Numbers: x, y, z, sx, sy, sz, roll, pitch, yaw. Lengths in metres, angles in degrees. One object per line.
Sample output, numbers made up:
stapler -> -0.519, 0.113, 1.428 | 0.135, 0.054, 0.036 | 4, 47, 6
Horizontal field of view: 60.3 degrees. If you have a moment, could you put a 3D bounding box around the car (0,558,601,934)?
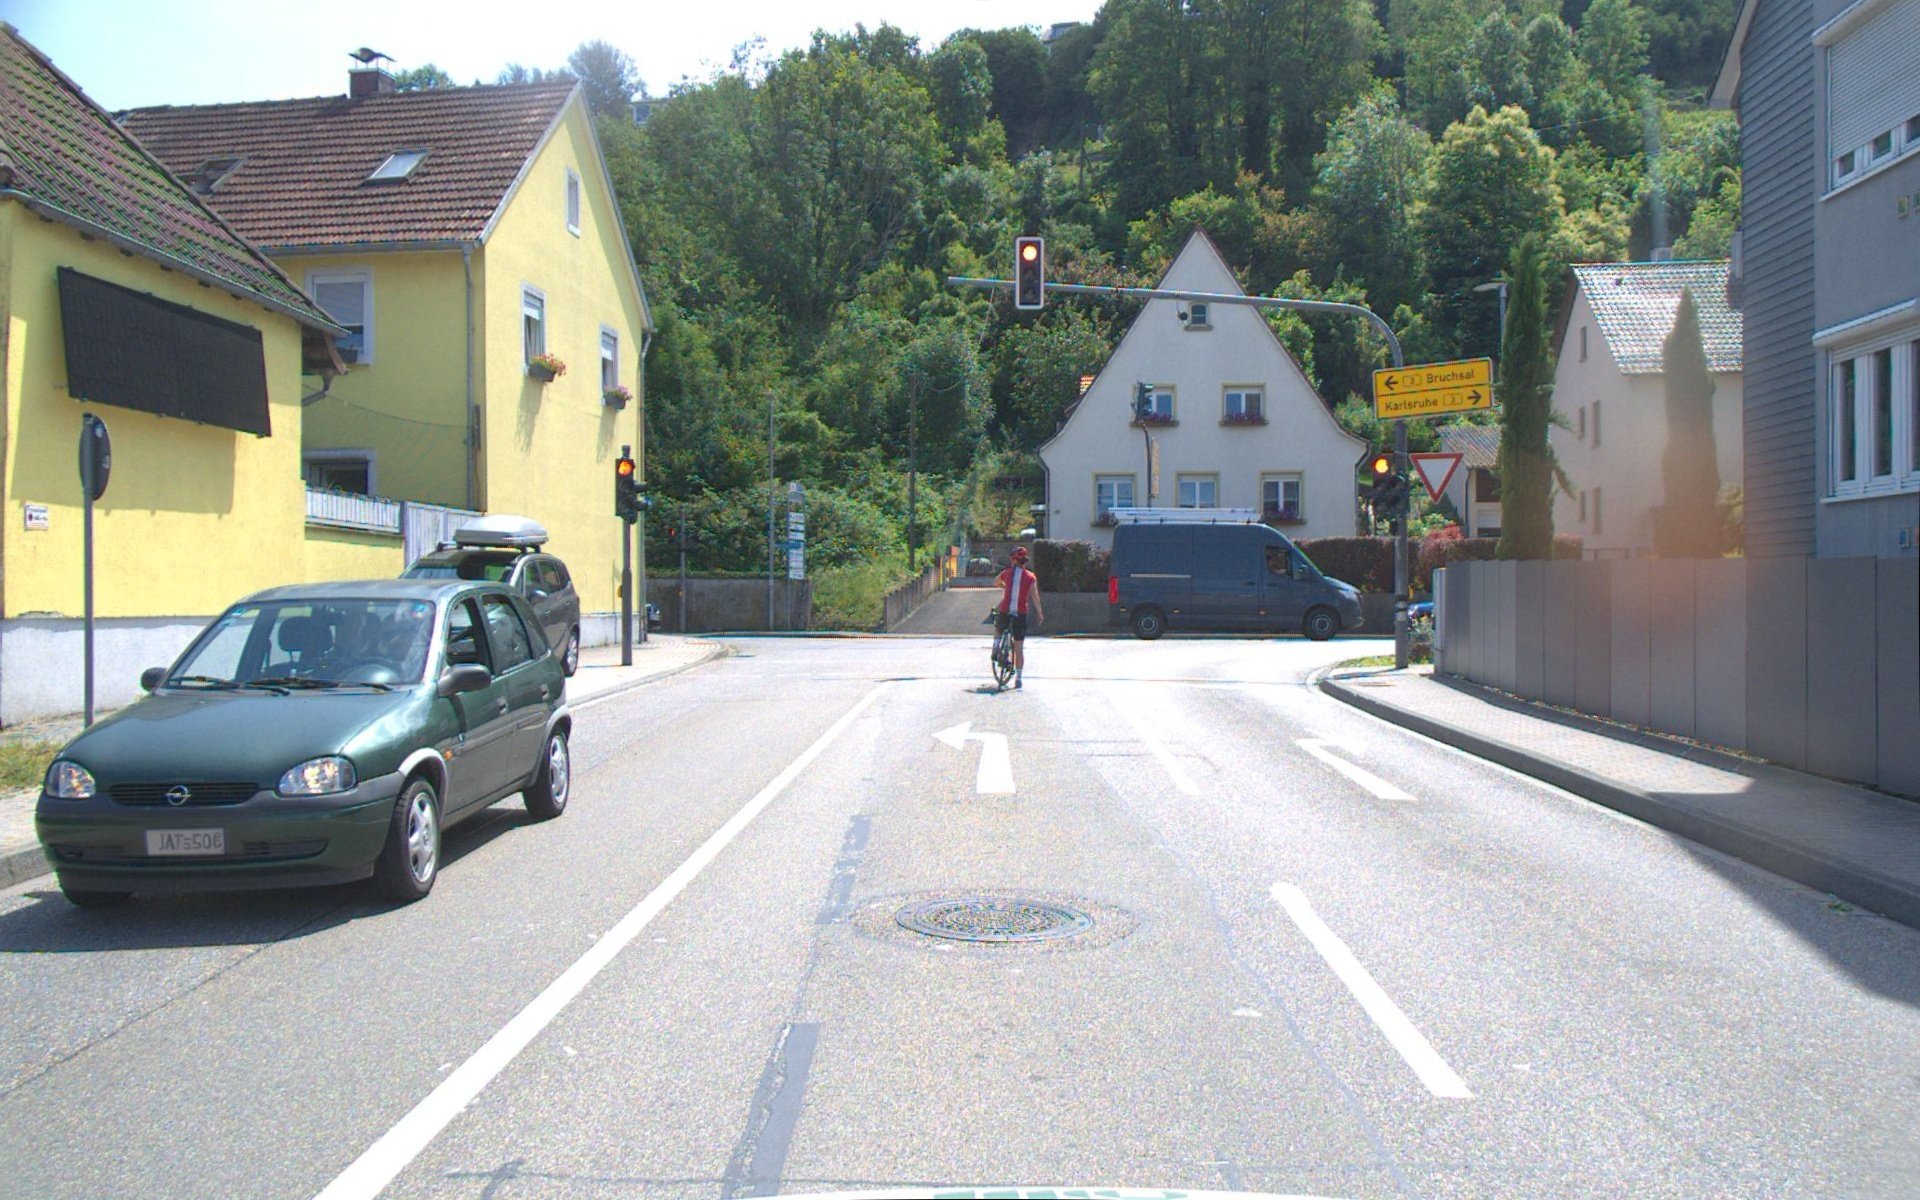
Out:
car -> -3.189, 0.553, 8.506 | 1.743, 1.458, 3.873 | -1, 1, 1

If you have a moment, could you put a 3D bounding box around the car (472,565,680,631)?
car -> -9.328, -0.050, 40.349 | 4.556, 1.467, 1.871 | -1, 1, 8

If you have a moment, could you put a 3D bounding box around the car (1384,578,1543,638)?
car -> 12.509, 0.208, 41.226 | 3.532, 1.387, 1.645 | 1, -2, 5

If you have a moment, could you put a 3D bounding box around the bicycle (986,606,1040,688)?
bicycle -> 0.645, 0.557, 20.310 | 0.617, 0.920, 1.657 | 1, 1, 1

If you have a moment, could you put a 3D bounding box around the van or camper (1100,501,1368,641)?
van or camper -> 6.229, -0.654, 37.848 | 5.864, 3.057, 2.220 | 0, 0, 9

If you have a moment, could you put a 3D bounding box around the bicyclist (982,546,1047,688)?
bicyclist -> 0.666, 0.200, 20.287 | 0.745, 1.693, 0.869 | 1, 0, 1

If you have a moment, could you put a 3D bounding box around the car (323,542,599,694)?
car -> -6.113, 0.169, 20.901 | 1.952, 1.664, 4.631 | 1, 1, 1
